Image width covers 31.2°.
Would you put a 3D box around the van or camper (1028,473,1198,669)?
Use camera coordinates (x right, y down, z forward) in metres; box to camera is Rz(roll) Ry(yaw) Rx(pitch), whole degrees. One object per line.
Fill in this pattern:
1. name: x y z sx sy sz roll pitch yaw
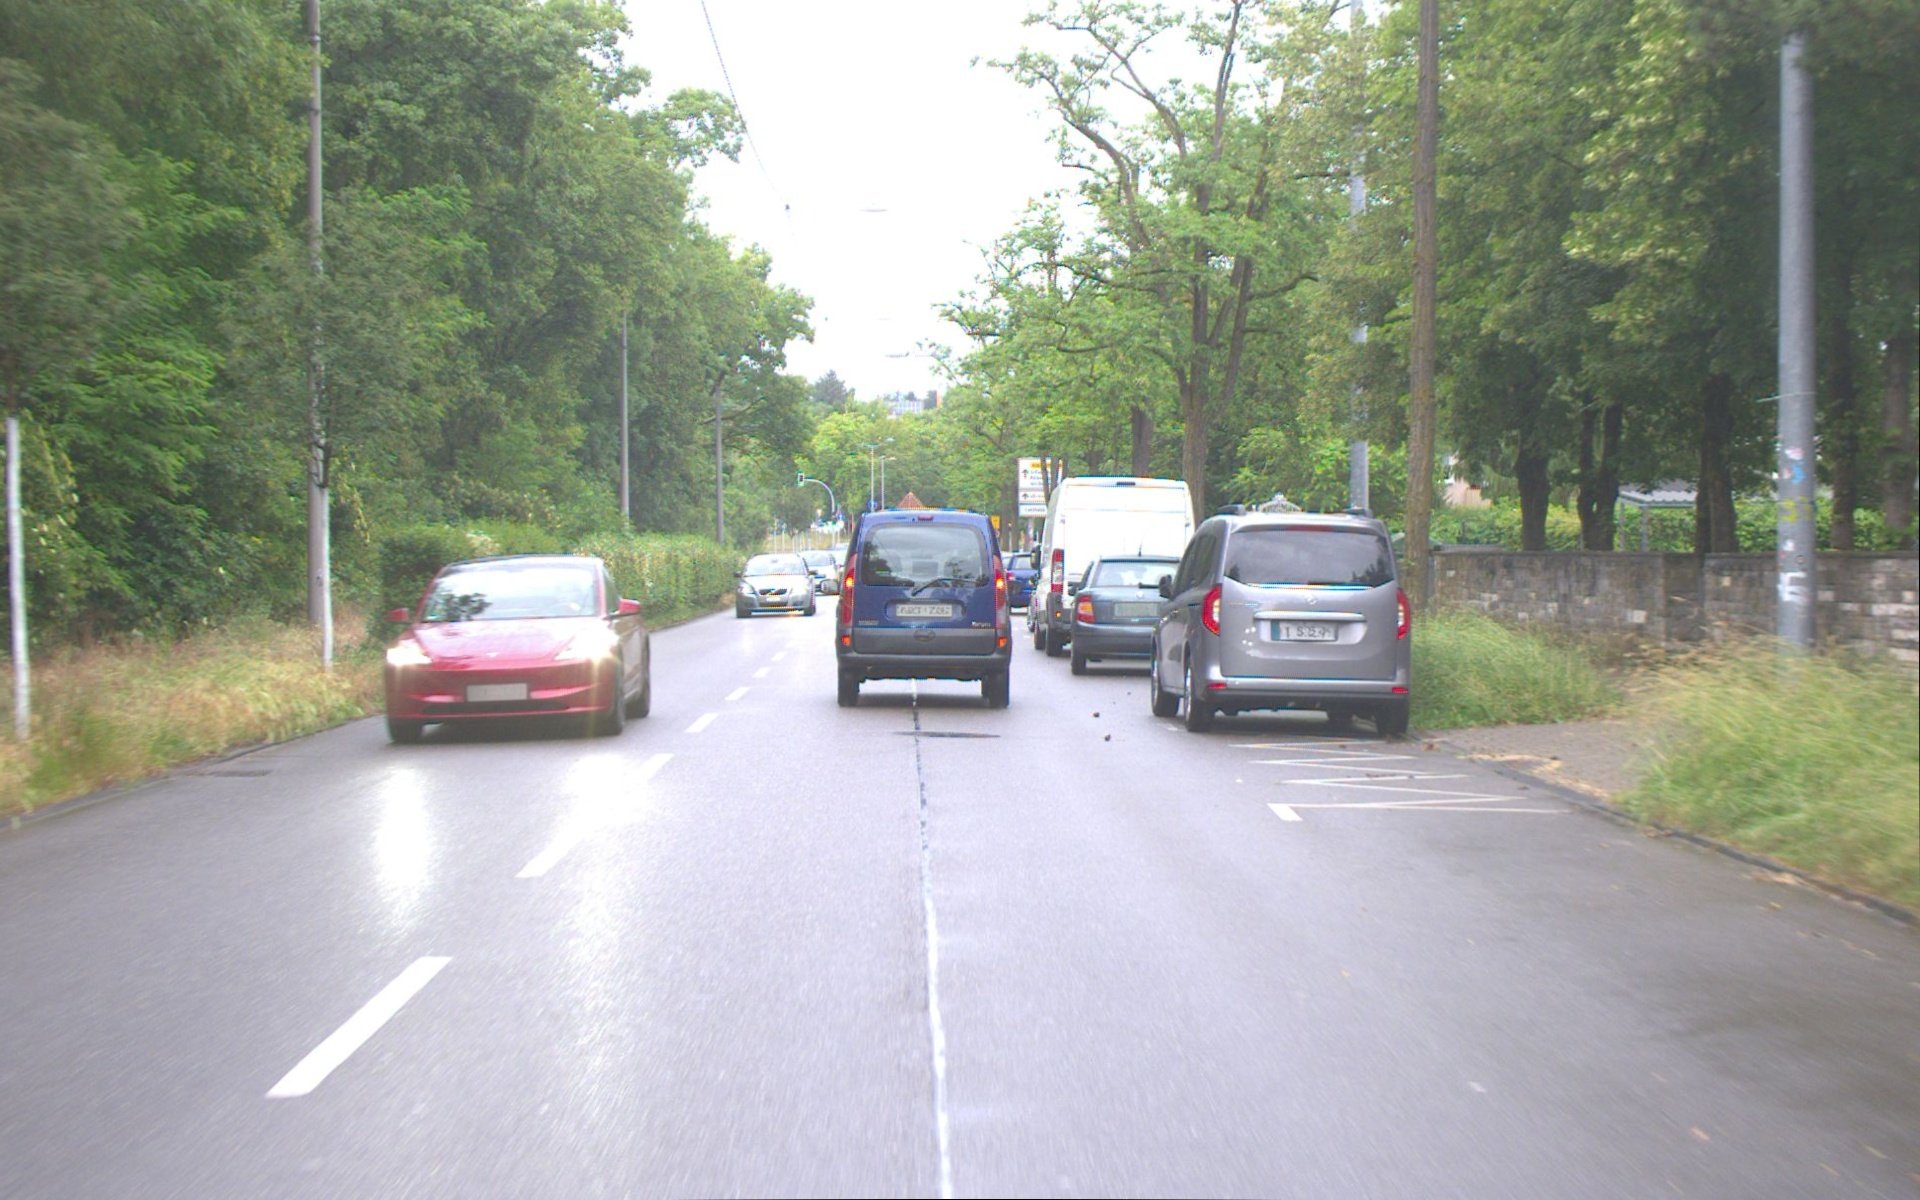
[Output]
1. van or camper: 2.162 -0.477 50.016 2.078 2.641 5.346 1 2 -1

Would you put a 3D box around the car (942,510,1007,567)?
1. car: 0.398 -1.730 96.291 1.618 1.503 3.835 1 2 -2

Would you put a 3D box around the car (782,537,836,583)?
1. car: -5.239 -1.388 119.543 1.729 1.487 4.001 -1 2 -1

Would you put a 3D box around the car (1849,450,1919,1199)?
1. car: 2.943 0.610 5.635 1.773 1.717 4.327 1 2 0

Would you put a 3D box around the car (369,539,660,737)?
1. car: -3.578 0.254 28.305 1.860 1.475 4.157 -1 1 0

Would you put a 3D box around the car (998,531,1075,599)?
1. car: 1.821 -0.862 82.802 1.721 1.500 4.050 1 2 0

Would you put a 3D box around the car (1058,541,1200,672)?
1. car: 2.053 0.045 42.230 1.626 1.459 3.808 1 2 2

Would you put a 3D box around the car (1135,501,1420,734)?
1. car: 2.628 0.079 29.414 1.814 1.807 4.283 1 2 -3

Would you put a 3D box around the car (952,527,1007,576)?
1. car: 0.611 -1.591 111.656 1.632 1.504 2.958 1 2 -2

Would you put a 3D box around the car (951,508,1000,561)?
1. car: 0.718 -3.055 160.376 2.205 2.441 4.729 0 1 -1

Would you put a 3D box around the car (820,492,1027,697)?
1. car: -0.404 -0.105 33.037 1.766 1.824 3.543 1 2 -4

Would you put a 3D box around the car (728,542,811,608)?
1. car: -4.418 -0.569 80.037 1.783 1.474 3.968 -1 0 -1
